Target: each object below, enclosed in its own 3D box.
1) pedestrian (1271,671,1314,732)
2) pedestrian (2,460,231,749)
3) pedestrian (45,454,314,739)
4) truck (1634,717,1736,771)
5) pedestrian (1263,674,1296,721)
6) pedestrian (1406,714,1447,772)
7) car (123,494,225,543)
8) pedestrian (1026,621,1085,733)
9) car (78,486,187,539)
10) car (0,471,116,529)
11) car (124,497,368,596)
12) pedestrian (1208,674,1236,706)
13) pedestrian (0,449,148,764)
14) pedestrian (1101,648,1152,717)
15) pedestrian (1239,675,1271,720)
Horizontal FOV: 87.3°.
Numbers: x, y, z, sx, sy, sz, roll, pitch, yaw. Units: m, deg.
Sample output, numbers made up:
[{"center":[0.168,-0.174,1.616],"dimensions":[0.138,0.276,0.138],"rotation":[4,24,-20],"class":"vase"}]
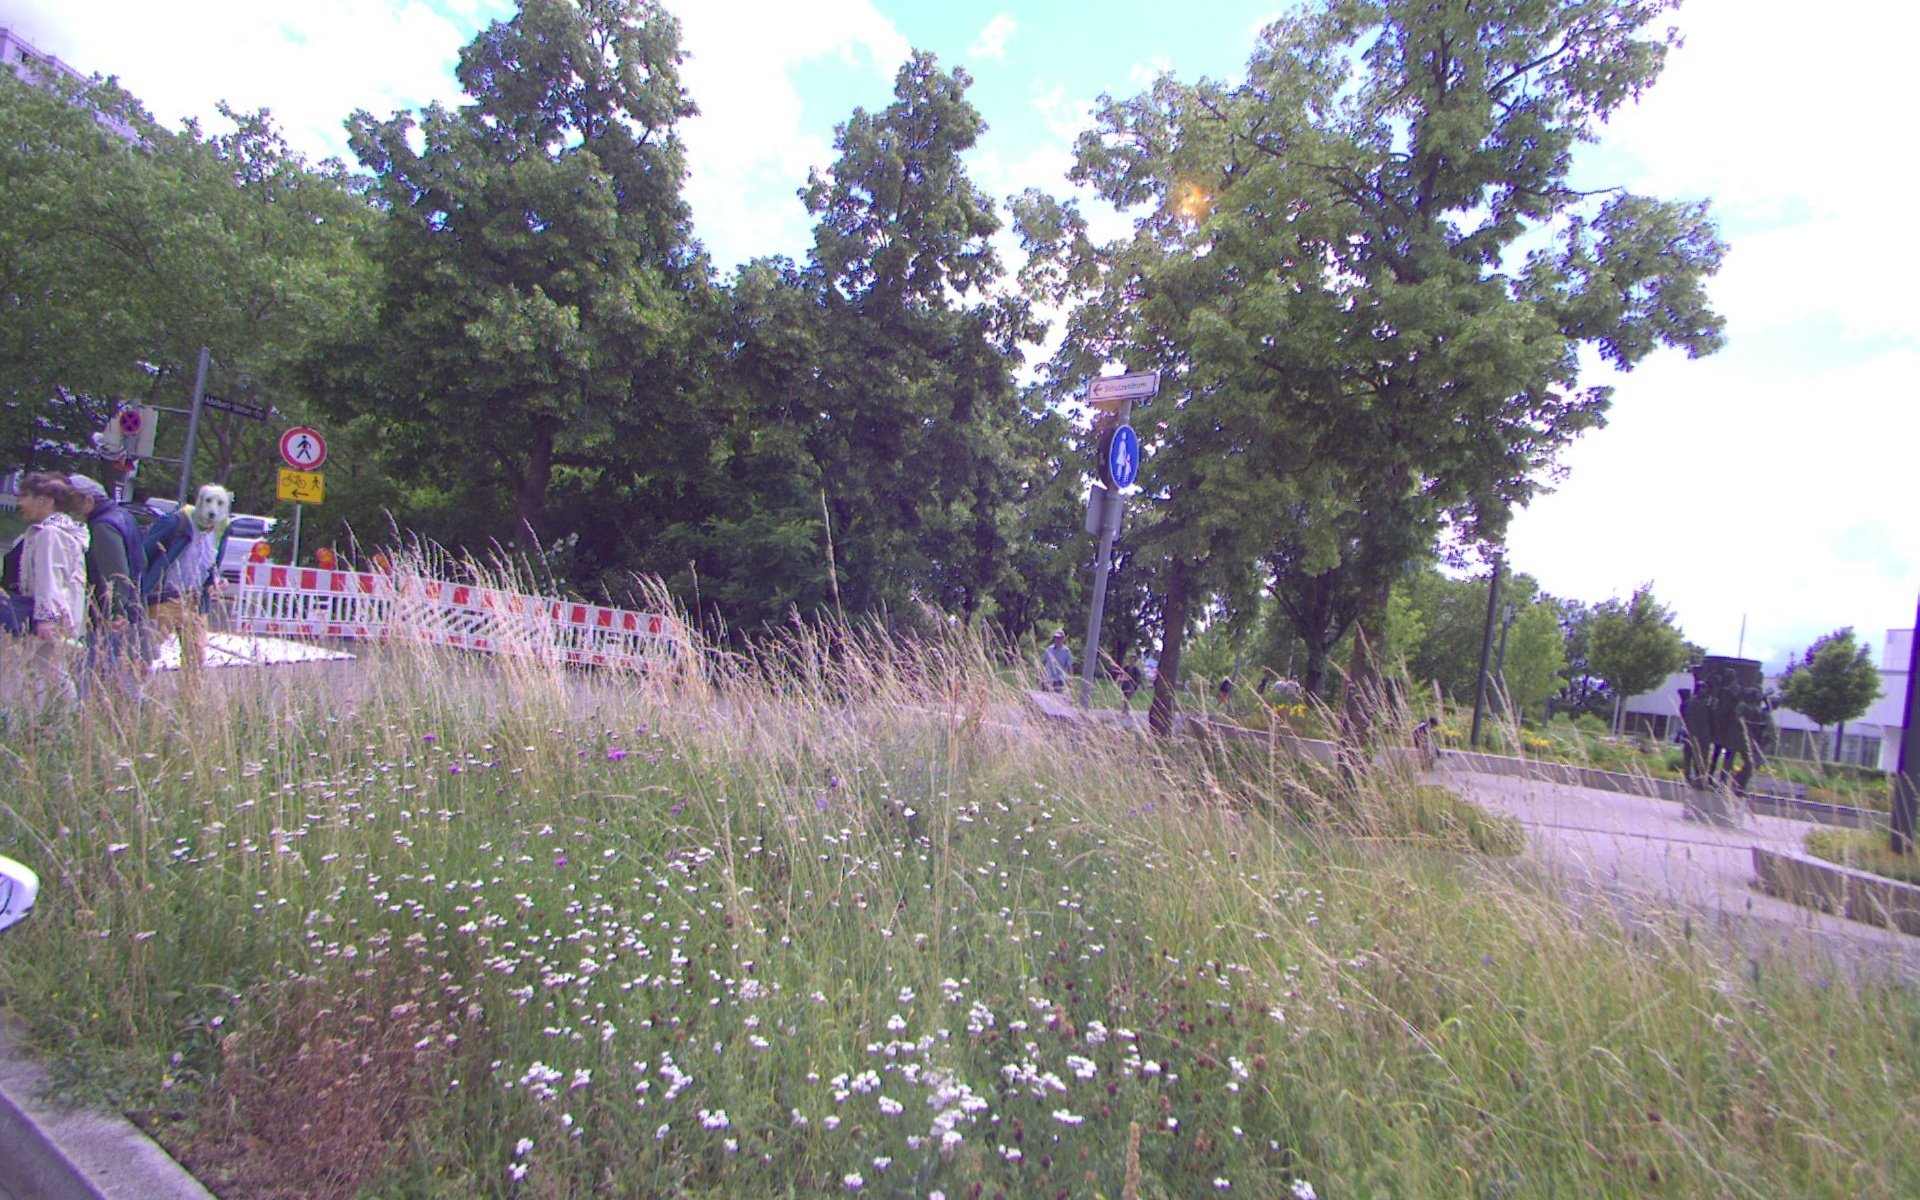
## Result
[{"center":[12.267,3.737,37.101],"dimensions":[1.137,2.037,0.817],"rotation":[8,0,30],"class":"pedestrian"},{"center":[-5.323,0.041,6.427],"dimensions":[0.863,1.654,0.758],"rotation":[8,0,-34],"class":"pedestrian"},{"center":[-5.573,-0.010,7.272],"dimensions":[0.995,1.795,0.948],"rotation":[8,0,-4],"class":"pedestrian"},{"center":[37.335,7.366,51.926],"dimensions":[1.965,2.037,3.999],"rotation":[8,-1,-4],"class":"truck"},{"center":[12.832,3.901,40.368],"dimensions":[0.879,1.732,0.817],"rotation":[8,0,30],"class":"pedestrian"},{"center":[10.755,3.289,23.180],"dimensions":[0.623,1.236,0.618],"rotation":[7,-1,36],"class":"pedestrian"},{"center":[-44.227,-4.557,56.679],"dimensions":[3.926,2.037,2.001],"rotation":[8,-1,0],"class":"car"},{"center":[1.689,1.361,17.903],"dimensions":[0.758,1.862,0.765],"rotation":[7,-1,2],"class":"pedestrian"},{"center":[-43.771,-4.628,53.275],"dimensions":[3.926,2.037,2.001],"rotation":[8,-1,0],"class":"car"},{"center":[-43.677,-4.802,48.559],"dimensions":[3.926,2.037,2.001],"rotation":[8,-1,0],"class":"car"},{"center":[-19.698,-1.402,28.044],"dimensions":[1.915,1.895,5.090],"rotation":[7,-2,28],"class":"car"},{"center":[14.365,4.926,55.121],"dimensions":[1.135,1.571,0.818],"rotation":[8,-1,-2],"class":"pedestrian"},{"center":[-5.272,0.022,5.704],"dimensions":[0.818,1.659,0.726],"rotation":[8,0,-35],"class":"pedestrian"},{"center":[4.348,2.154,26.196],"dimensions":[0.879,1.647,0.817],"rotation":[8,-1,30],"class":"pedestrian"},{"center":[12.042,3.985,41.026],"dimensions":[0.872,1.681,0.817],"rotation":[8,-1,30],"class":"pedestrian"}]
